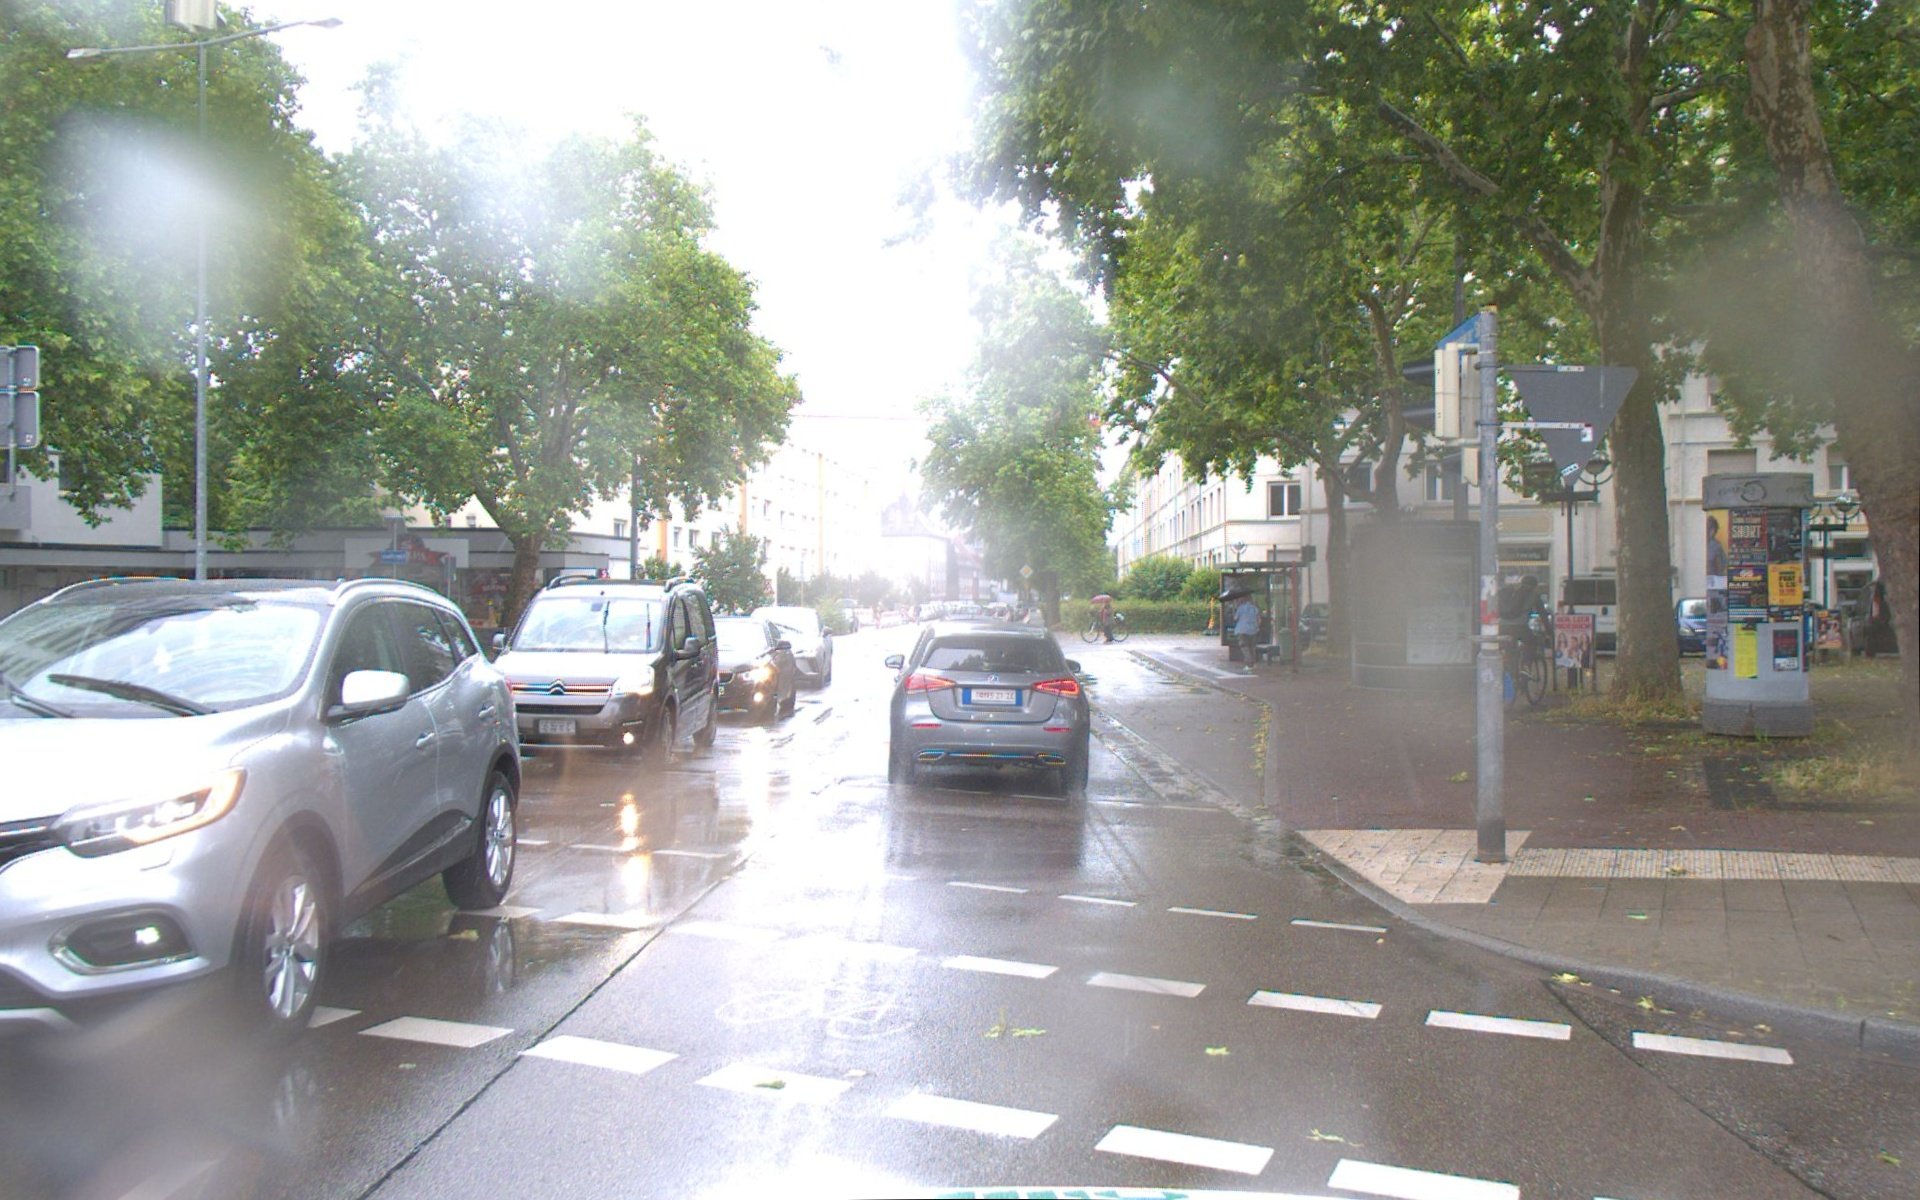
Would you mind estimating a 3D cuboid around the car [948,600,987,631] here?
[{"bbox_3d":[0.391,0.797,88.672,1.953,1.601,3.999,-1,0,-2],"label":"car"}]

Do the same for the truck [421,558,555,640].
[{"bbox_3d":[-22.101,-0.047,77.565,5.562,3.709,2.176,-1,0,4],"label":"truck"}]

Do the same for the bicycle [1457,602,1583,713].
[{"bbox_3d":[7.793,0.761,22.928,0.737,1.401,2.693,-1,0,39],"label":"bicycle"}]

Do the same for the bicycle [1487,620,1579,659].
[{"bbox_3d":[14.711,1.006,42.471,2.206,0.985,0.534,-1,0,23],"label":"bicycle"}]

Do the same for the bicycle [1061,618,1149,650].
[{"bbox_3d":[5.461,1.267,62.376,3.157,1.131,1.048,-1,-1,-19],"label":"bicycle"}]

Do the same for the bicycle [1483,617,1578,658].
[{"bbox_3d":[14.440,0.945,41.866,2.235,1.000,0.545,-1,0,23],"label":"bicycle"}]

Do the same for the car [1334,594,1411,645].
[{"bbox_3d":[14.688,0.654,58.737,1.953,1.656,4.630,2,1,22],"label":"car"}]

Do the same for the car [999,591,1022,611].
[{"bbox_3d":[4.811,0.118,156.956,2.004,1.868,4.794,-1,0,3],"label":"car"}]

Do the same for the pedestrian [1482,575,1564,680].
[{"bbox_3d":[7.832,0.372,22.987,0.732,1.422,1.042,-1,0,40],"label":"pedestrian"}]

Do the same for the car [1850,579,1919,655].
[{"bbox_3d":[24.410,0.486,42.769,2.111,1.870,3.997,-1,-2,24],"label":"car"}]

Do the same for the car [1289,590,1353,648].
[{"bbox_3d":[10.627,0.593,48.549,1.652,1.578,3.525,-1,-2,15],"label":"car"}]

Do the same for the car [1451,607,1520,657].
[{"bbox_3d":[14.926,0.937,46.904,1.550,1.360,3.260,-1,-2,23],"label":"car"}]

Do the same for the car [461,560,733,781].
[{"bbox_3d":[-3.421,0.608,16.353,1.770,1.894,4.109,0,0,0],"label":"car"}]

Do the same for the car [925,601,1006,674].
[{"bbox_3d":[0.090,0.747,34.831,1.574,1.396,4.000,-1,0,-1],"label":"car"}]

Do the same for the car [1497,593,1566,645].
[{"bbox_3d":[19.614,0.620,56.672,1.953,1.656,4.630,2,1,22],"label":"car"}]

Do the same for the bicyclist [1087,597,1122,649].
[{"bbox_3d":[5.454,0.866,62.344,0.924,1.901,1.136,-1,-1,-19],"label":"bicyclist"}]

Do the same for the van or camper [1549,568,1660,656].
[{"bbox_3d":[17.953,0.327,45.893,2.350,2.270,5.423,-1,0,27],"label":"van or camper"}]

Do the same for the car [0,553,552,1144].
[{"bbox_3d":[-2.975,0.690,6.576,1.707,1.632,4.000,0,0,0],"label":"car"}]

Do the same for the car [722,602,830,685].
[{"bbox_3d":[-3.616,0.822,33.140,1.808,1.536,4.054,0,0,-2],"label":"car"}]

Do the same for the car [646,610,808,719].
[{"bbox_3d":[-3.283,0.879,24.060,1.707,1.414,4.362,1,-1,0],"label":"car"}]

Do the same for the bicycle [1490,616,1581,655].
[{"bbox_3d":[14.995,0.931,43.127,2.201,0.985,0.585,-1,0,23],"label":"bicycle"}]

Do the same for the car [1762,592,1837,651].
[{"bbox_3d":[22.440,0.604,44.299,1.646,1.457,3.732,-1,-2,25],"label":"car"}]

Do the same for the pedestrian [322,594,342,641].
[{"bbox_3d":[-22.297,0.618,58.728,0.560,1.657,0.639,0,0,-15],"label":"pedestrian"}]

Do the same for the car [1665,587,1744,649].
[{"bbox_3d":[20.118,0.503,44.779,1.644,1.603,3.736,0,-1,20],"label":"car"}]

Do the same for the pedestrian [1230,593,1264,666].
[{"bbox_3d":[6.679,0.680,38.490,0.701,1.698,0.665,0,0,3],"label":"pedestrian"}]

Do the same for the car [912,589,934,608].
[{"bbox_3d":[-3.702,-0.167,164.249,1.850,1.868,4.002,-1,0,3],"label":"car"}]

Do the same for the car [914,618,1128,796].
[{"bbox_3d":[0.492,0.901,15.438,1.754,1.396,3.506,1,0,-1],"label":"car"}]
